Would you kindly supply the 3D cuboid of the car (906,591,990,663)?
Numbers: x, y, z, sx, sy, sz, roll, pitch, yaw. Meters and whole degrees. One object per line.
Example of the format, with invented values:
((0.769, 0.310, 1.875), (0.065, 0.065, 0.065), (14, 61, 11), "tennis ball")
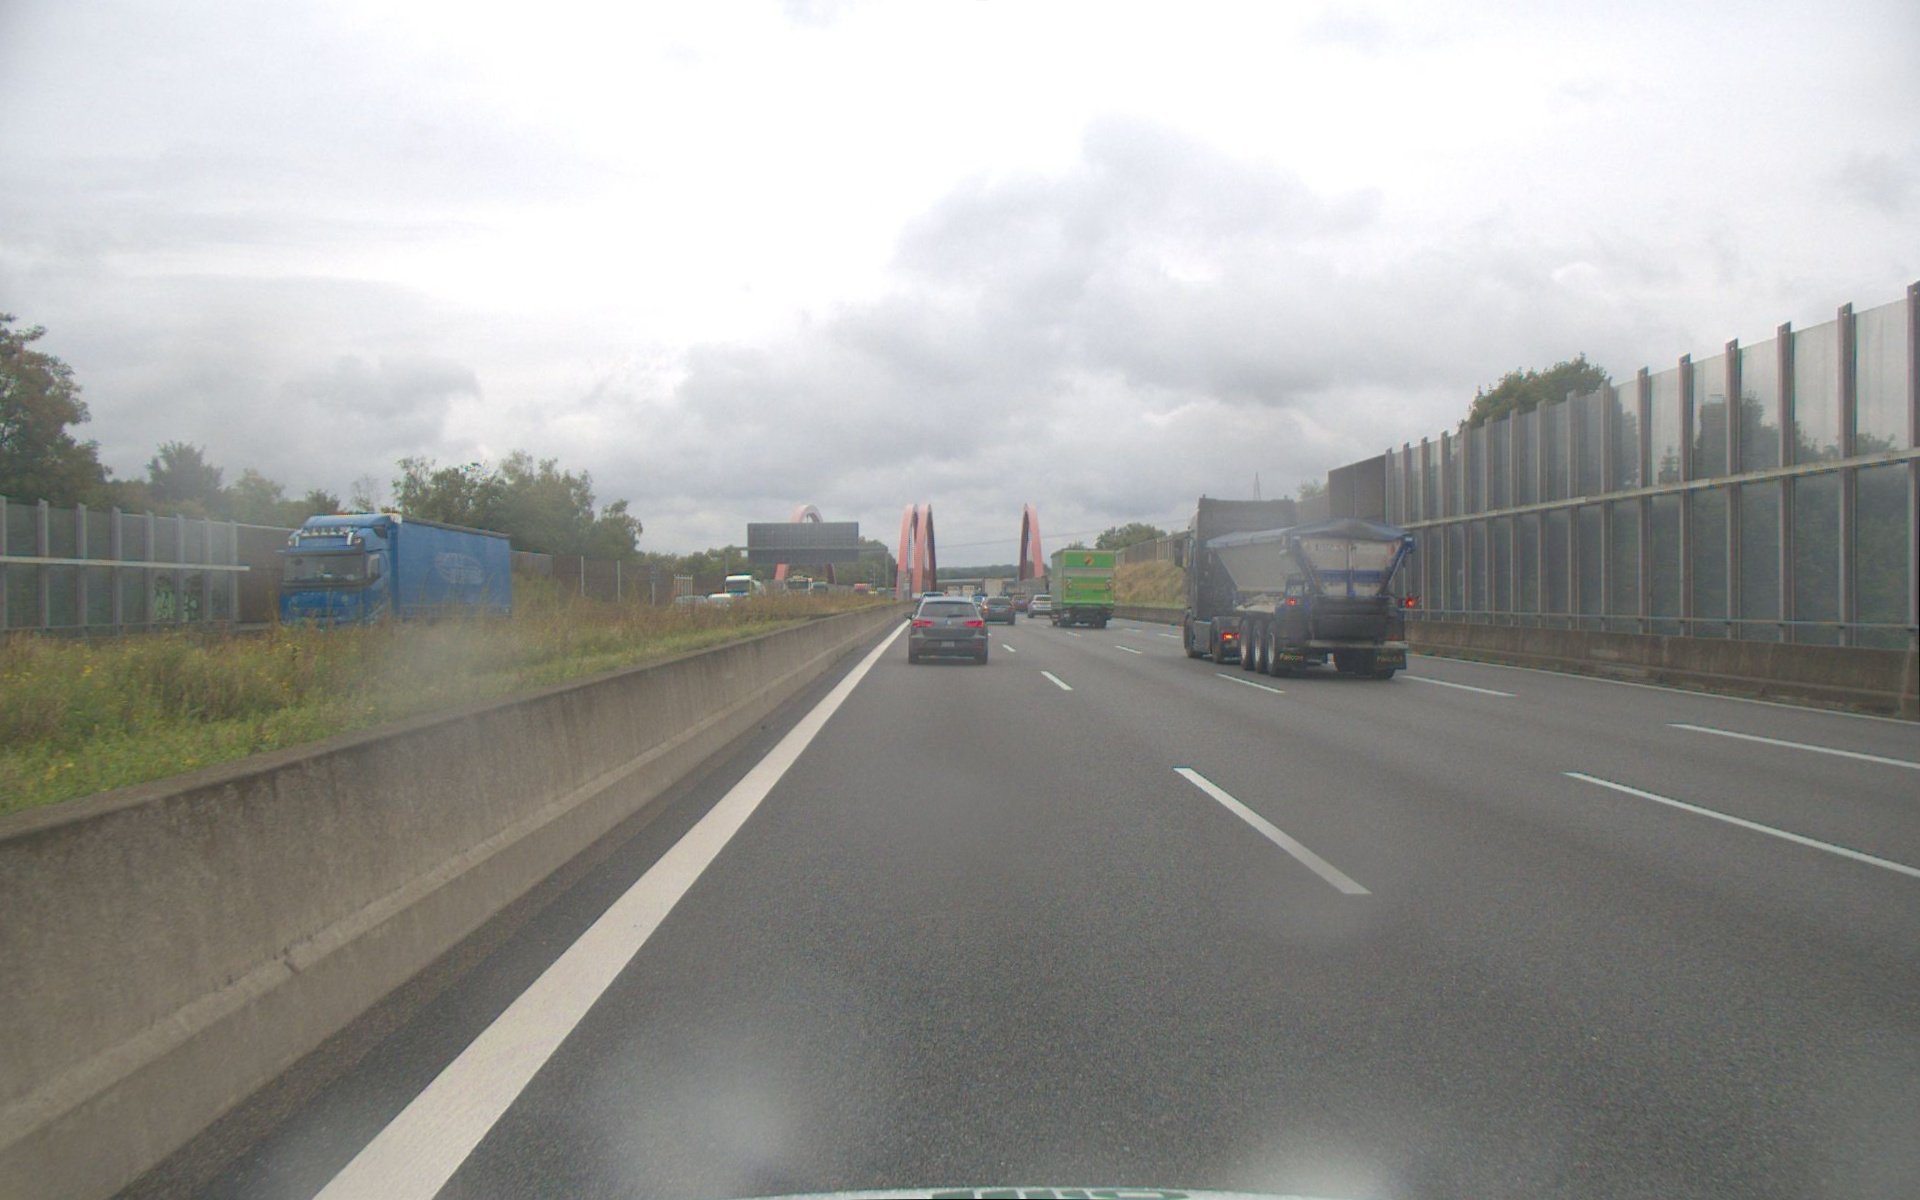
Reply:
((-0.236, 0.551, 36.174), (1.727, 1.478, 4.000), (0, 0, 0), "car")

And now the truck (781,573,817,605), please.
((-16.251, -1.123, 167.307), (2.896, 3.120, 8.726), (1, 0, -1), "truck")

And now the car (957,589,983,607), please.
((0.802, -0.149, 133.281), (1.953, 1.378, 3.999), (-1, 0, -2), "car")

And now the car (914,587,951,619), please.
((-1.519, 0.144, 89.768), (1.953, 1.612, 3.999), (-1, 0, -1), "car")

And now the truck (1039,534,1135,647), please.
((6.339, -0.472, 84.654), (3.916, 5.358, 11.219), (1, 0, 0), "truck")

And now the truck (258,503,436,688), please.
((-17.403, -0.124, 47.364), (3.124, 4.943, 5.416), (1, 0, -2), "truck")

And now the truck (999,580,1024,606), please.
((5.171, -0.669, 166.236), (2.313, 2.550, 6.143), (0, 0, 0), "truck")

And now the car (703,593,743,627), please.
((-14.681, 0.624, 102.539), (1.953, 2.049, 4.197), (0, 0, -1), "car")

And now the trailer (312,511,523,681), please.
((-17.806, -0.126, 55.621), (3.152, 4.971, 13.520), (1, 0, -3), "trailer")

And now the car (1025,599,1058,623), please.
((5.823, 0.801, 118.884), (1.953, 1.647, 5.327), (1, 0, -1), "car")

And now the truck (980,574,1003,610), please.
((4.284, -1.055, 229.113), (2.982, 4.817, 7.679), (1, 0, 0), "truck")

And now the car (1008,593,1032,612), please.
((5.456, 0.220, 150.085), (1.917, 1.676, 3.999), (1, 0, -1), "car")

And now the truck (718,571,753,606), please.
((-20.203, -1.039, 149.094), (2.569, 3.072, 5.609), (1, 0, -3), "truck")

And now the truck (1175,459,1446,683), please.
((7.215, -0.538, 36.533), (3.026, 4.019, 12.943), (-1, 0, -1), "truck")

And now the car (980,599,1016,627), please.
((1.944, 0.666, 86.394), (1.745, 1.431, 3.625), (0, 0, -1), "car")
